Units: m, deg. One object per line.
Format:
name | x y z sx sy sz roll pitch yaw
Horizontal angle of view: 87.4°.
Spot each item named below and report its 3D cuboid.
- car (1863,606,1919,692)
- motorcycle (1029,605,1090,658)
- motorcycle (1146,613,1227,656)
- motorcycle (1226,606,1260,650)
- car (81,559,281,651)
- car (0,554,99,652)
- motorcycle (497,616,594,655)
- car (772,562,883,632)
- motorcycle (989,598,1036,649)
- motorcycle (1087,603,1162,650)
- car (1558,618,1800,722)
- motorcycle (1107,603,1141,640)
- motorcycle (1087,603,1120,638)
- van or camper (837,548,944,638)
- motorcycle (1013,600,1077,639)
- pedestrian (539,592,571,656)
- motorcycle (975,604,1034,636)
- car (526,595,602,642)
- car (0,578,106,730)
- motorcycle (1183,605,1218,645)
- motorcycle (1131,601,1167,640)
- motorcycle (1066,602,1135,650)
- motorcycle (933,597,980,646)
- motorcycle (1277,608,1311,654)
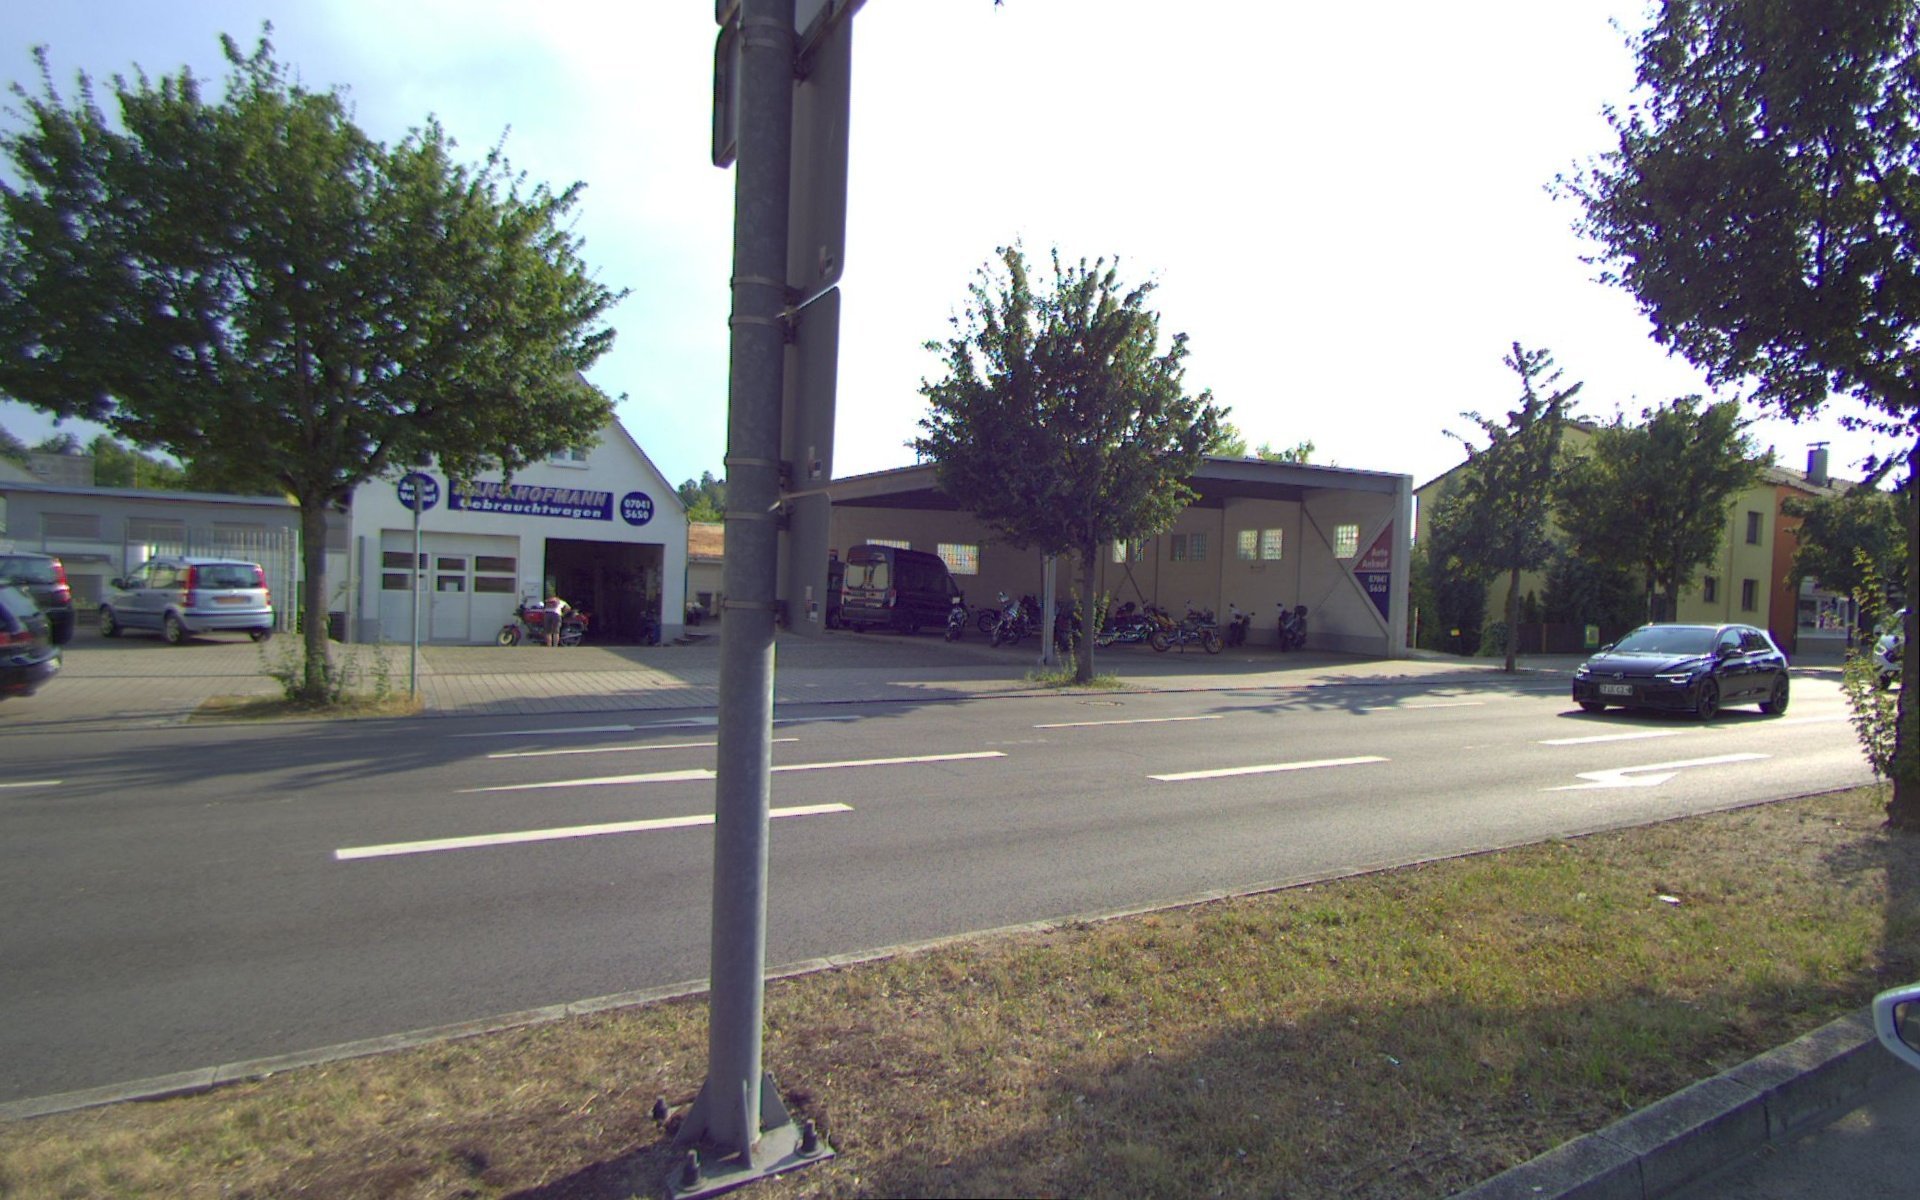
car | 23.906 1.176 24.231 4.888 1.949 1.813 2 0 -31
motorcycle | 2.603 0.807 26.091 0.659 1.329 2.001 1 0 36
motorcycle | 6.310 0.954 28.024 2.112 1.139 0.631 1 0 0
motorcycle | 9.067 0.886 32.158 0.553 1.325 2.086 1 0 29
car | -14.670 0.068 18.880 3.931 1.572 1.763 1 0 33
car | -16.867 0.017 17.519 3.931 1.572 1.763 1 0 33
motorcycle | -10.303 0.898 25.020 2.183 0.932 0.504 2 0 -28
car | -4.616 -0.090 35.618 2.157 2.279 4.387 1 0 19
motorcycle | 1.469 0.644 27.697 0.637 1.329 2.007 1 0 22
motorcycle | 4.900 0.783 30.018 2.112 1.347 0.563 1 0 -1
car | 11.699 1.070 16.291 4.062 1.470 1.760 2 0 -32
motorcycle | 6.158 0.799 37.724 0.553 1.325 2.086 1 0 29
motorcycle | 5.634 0.808 39.289 0.553 1.325 2.086 1 0 29
van or camper | -2.181 -0.192 33.223 1.960 2.716 5.040 1 0 15
motorcycle | 2.909 0.667 34.481 2.112 1.275 0.647 1 0 0
pedestrian | -9.894 0.583 24.536 0.664 1.543 0.650 1 0 -23
motorcycle | 1.609 0.732 36.771 2.112 1.138 0.563 1 0 -1
car | -12.869 0.561 32.510 1.863 1.403 4.054 1 0 -28
car | -11.603 0.505 10.233 4.147 1.463 1.825 2 3 -31
motorcycle | 8.248 0.842 34.398 0.612 1.325 2.086 1 0 29
motorcycle | 6.711 0.729 35.574 0.573 1.325 2.086 1 0 29
motorcycle | 4.505 0.837 32.266 2.112 1.468 0.594 1 0 0
motorcycle | -0.082 0.613 29.079 0.637 1.329 2.007 1 0 22
motorcycle | 10.115 0.921 30.358 0.553 1.325 2.112 1 0 29
